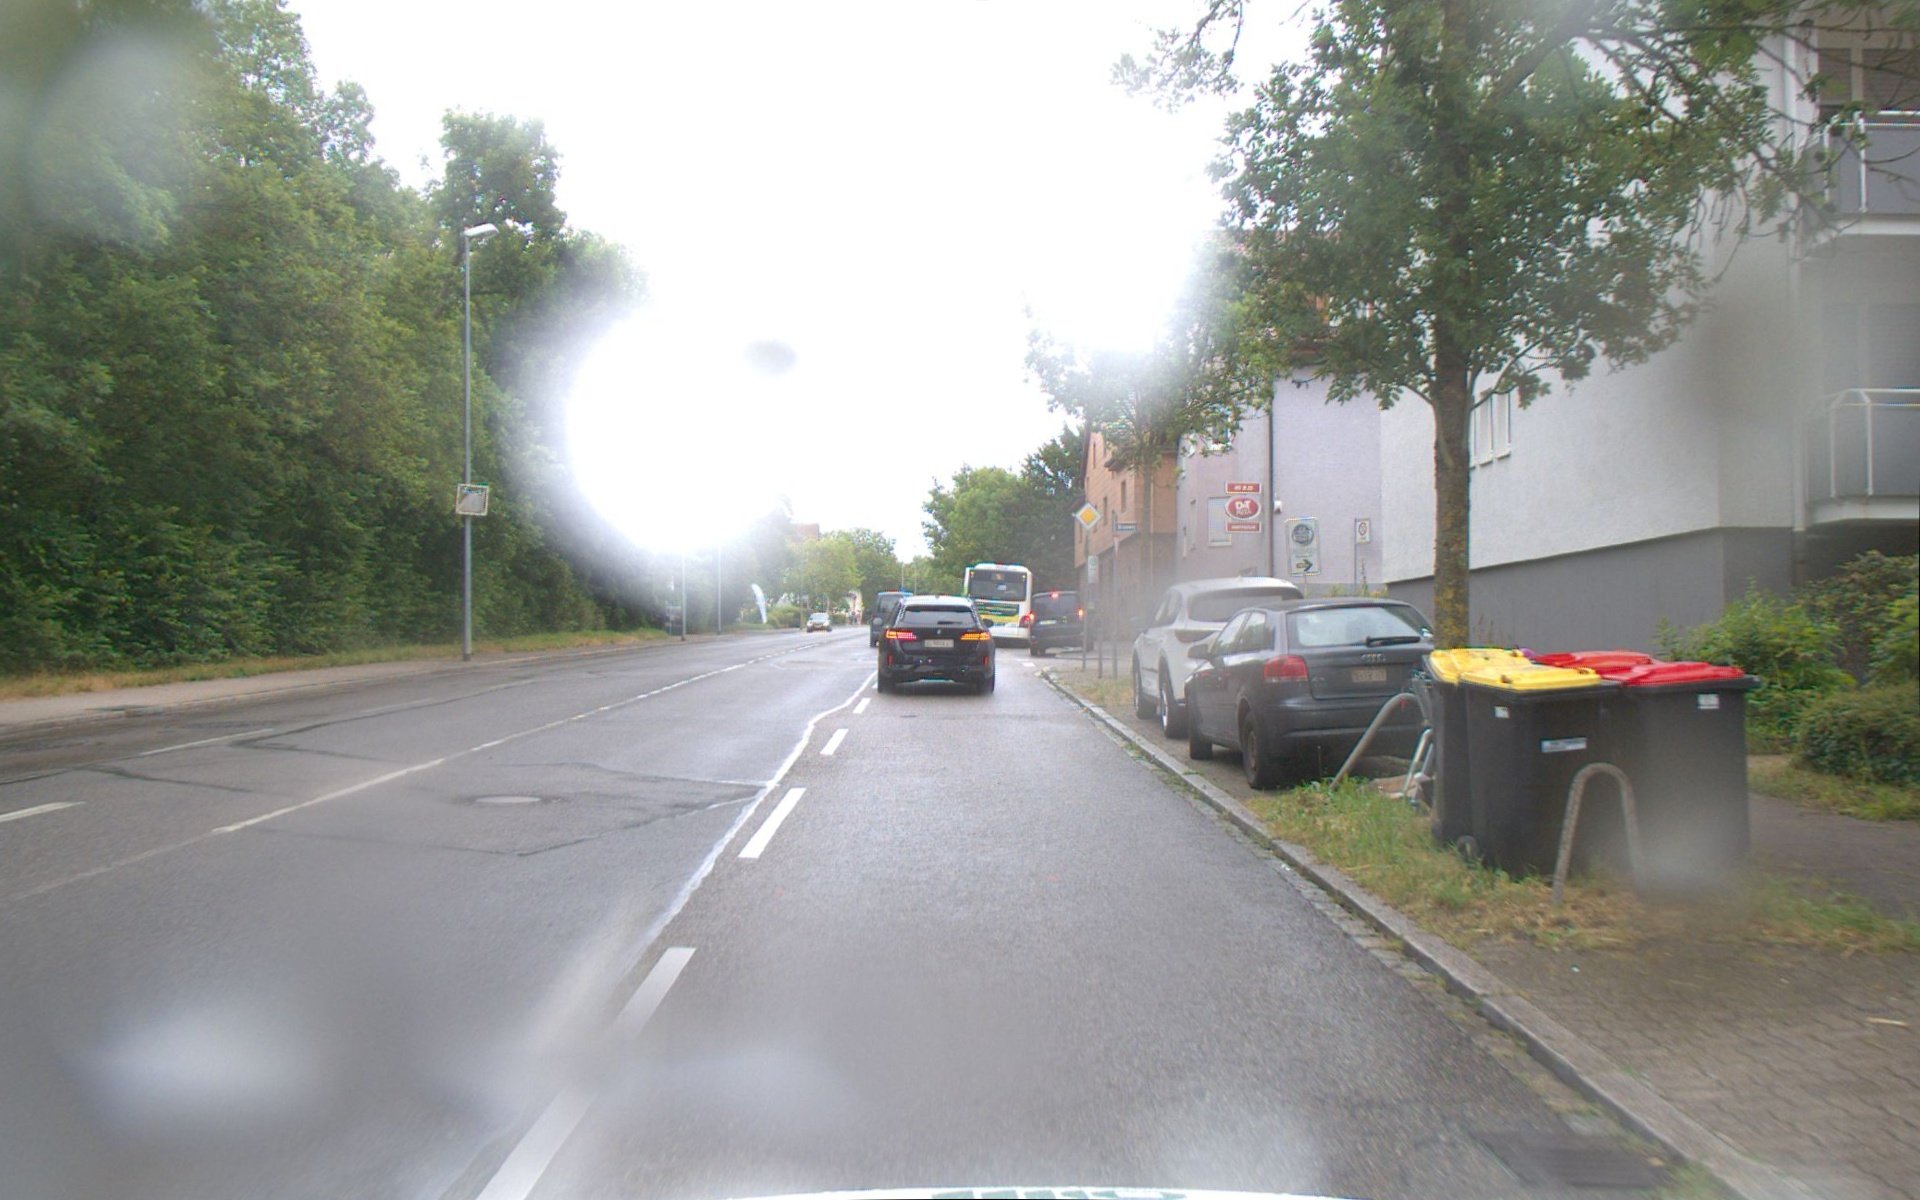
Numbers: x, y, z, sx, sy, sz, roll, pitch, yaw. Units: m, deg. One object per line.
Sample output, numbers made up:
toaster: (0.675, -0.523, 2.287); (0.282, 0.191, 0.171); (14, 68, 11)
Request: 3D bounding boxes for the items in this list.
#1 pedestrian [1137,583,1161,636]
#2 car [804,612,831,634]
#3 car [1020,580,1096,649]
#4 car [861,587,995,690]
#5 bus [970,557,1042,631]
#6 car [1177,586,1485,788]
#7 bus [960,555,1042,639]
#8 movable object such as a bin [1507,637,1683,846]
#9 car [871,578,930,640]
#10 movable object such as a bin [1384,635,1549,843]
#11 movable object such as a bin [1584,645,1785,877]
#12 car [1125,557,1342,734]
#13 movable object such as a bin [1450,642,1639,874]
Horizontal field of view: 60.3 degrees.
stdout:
pedestrian: (6.563, 0.330, 57.508); (0.676, 1.785, 0.669); (-2, 0, -2)
car: (-10.848, 1.729, 126.153); (1.734, 1.560, 3.999); (-1, 1, -1)
car: (3.083, 0.441, 50.997); (1.886, 1.925, 4.765); (-4, -1, 7)
car: (-0.600, 0.578, 27.313); (1.954, 1.478, 3.997); (2, 1, -4)
bus: (1.870, -0.294, 71.403); (2.570, 2.897, 9.792); (-1, 1, -1)
car: (3.013, 0.634, 14.253); (1.608, 1.474, 3.996); (0, 0, -2)
bus: (1.660, -0.179, 62.513); (2.568, 2.897, 8.294); (-1, 1, 5)
movable object such as a bin: (3.581, 0.776, 9.381); (0.607, 1.068, 0.822); (-3, 1, -4)
car: (-2.021, 0.290, 57.074); (1.953, 2.049, 3.999); (0, 0, -1)
movable object such as a bin: (2.856, 0.760, 9.386); (0.607, 1.068, 0.822); (-3, 1, -4)
movable object such as a bin: (3.708, 0.800, 8.519); (0.607, 1.068, 0.822); (-3, 1, -4)
car: (3.073, 0.445, 19.505); (1.787, 1.803, 4.541); (-1, 1, 0)
movable object such as a bin: (2.991, 0.784, 8.521); (0.607, 1.068, 0.822); (-3, 1, -4)
